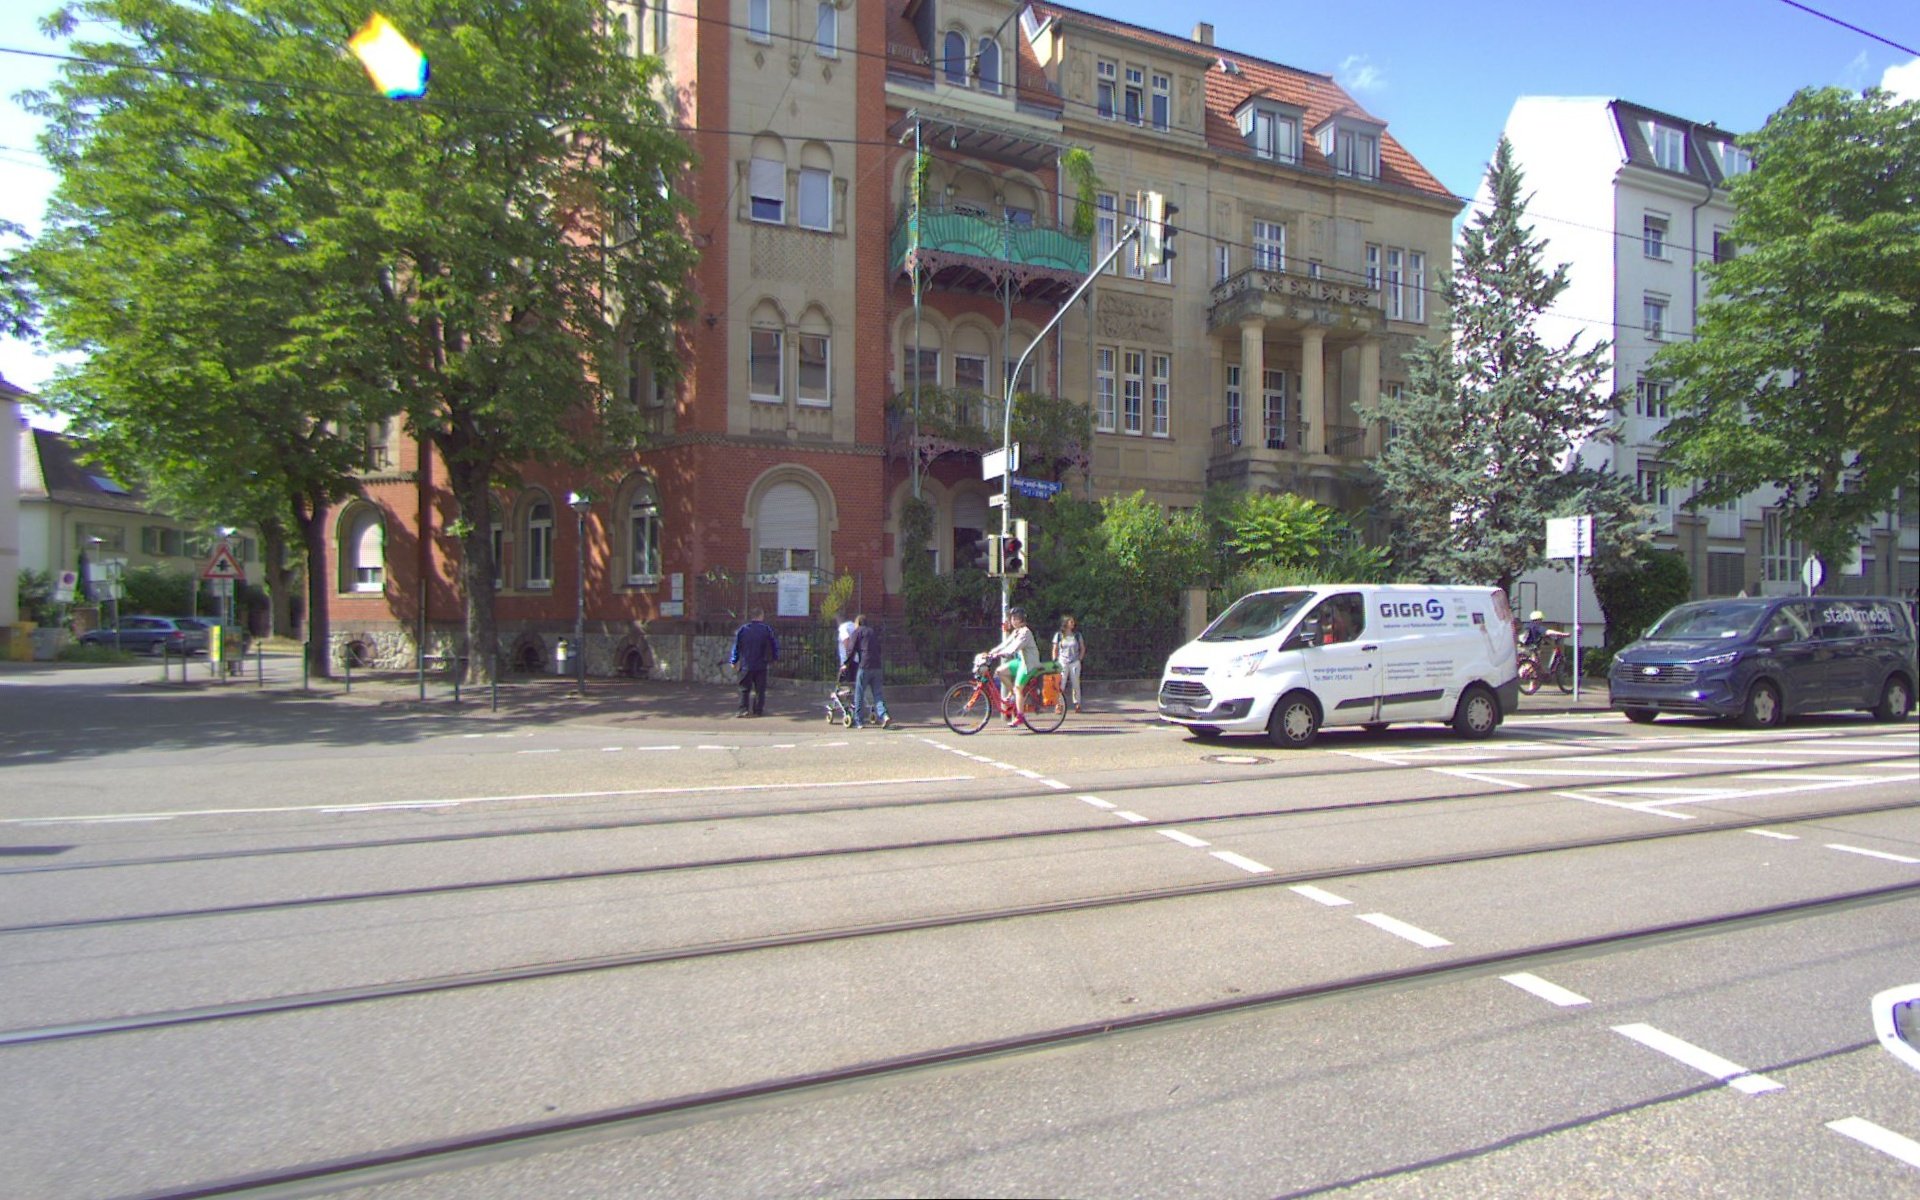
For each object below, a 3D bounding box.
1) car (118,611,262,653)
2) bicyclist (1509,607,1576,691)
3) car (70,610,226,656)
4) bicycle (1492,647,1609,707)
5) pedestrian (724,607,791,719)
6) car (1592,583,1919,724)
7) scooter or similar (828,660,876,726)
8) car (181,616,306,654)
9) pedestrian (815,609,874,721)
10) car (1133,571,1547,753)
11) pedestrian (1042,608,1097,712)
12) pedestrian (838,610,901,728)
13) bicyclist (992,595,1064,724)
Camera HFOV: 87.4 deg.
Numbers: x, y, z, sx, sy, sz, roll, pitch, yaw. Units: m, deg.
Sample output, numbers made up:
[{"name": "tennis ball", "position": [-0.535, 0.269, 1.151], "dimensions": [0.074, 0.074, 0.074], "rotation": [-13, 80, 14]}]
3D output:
[{"name": "car", "position": [-31.553, 1.308, 41.285], "dimensions": [4.235, 1.697, 1.998], "rotation": [0, -1, -6]}, {"name": "bicyclist", "position": [12.088, 1.001, 20.862], "dimensions": [0.692, 1.666, 0.948], "rotation": [1, 1, -23]}, {"name": "car", "position": [-31.237, 1.260, 38.749], "dimensions": [4.235, 1.697, 1.998], "rotation": [0, -1, -6]}, {"name": "bicycle", "position": [11.095, 1.420, 18.876], "dimensions": [1.834, 0.945, 0.996], "rotation": [0, 3, -24]}, {"name": "pedestrian", "position": [-3.216, 0.981, 15.952], "dimensions": [0.840, 1.721, 0.618], "rotation": [1, 1, -35]}, {"name": "car", "position": [12.575, 0.829, 15.742], "dimensions": [5.049, 1.942, 1.924], "rotation": [1, -3, -22]}, {"name": "scooter or similar", "position": [-1.634, 1.396, 15.183], "dimensions": [0.495, 0.935, 0.544], "rotation": [1, 1, -36]}, {"name": "car", "position": [-32.717, 1.583, 45.961], "dimensions": [4.231, 1.697, 2.000], "rotation": [0, -1, 0]}, {"name": "pedestrian", "position": [-1.808, 0.997, 15.752], "dimensions": [0.719, 1.679, 0.606], "rotation": [-1, 2, -36]}, {"name": "car", "position": [4.941, 0.738, 13.059], "dimensions": [5.014, 2.021, 1.990], "rotation": [0, -2, -22]}, {"name": "pedestrian", "position": [1.810, 0.980, 16.627], "dimensions": [0.801, 1.679, 0.521], "rotation": [1, 1, -2]}, {"name": "pedestrian", "position": [-1.334, 1.004, 14.857], "dimensions": [0.745, 1.679, 0.516], "rotation": [1, 1, -36]}, {"name": "bicyclist", "position": [0.935, 0.802, 14.020], "dimensions": [0.663, 1.718, 0.835], "rotation": [1, 1, -24]}]
